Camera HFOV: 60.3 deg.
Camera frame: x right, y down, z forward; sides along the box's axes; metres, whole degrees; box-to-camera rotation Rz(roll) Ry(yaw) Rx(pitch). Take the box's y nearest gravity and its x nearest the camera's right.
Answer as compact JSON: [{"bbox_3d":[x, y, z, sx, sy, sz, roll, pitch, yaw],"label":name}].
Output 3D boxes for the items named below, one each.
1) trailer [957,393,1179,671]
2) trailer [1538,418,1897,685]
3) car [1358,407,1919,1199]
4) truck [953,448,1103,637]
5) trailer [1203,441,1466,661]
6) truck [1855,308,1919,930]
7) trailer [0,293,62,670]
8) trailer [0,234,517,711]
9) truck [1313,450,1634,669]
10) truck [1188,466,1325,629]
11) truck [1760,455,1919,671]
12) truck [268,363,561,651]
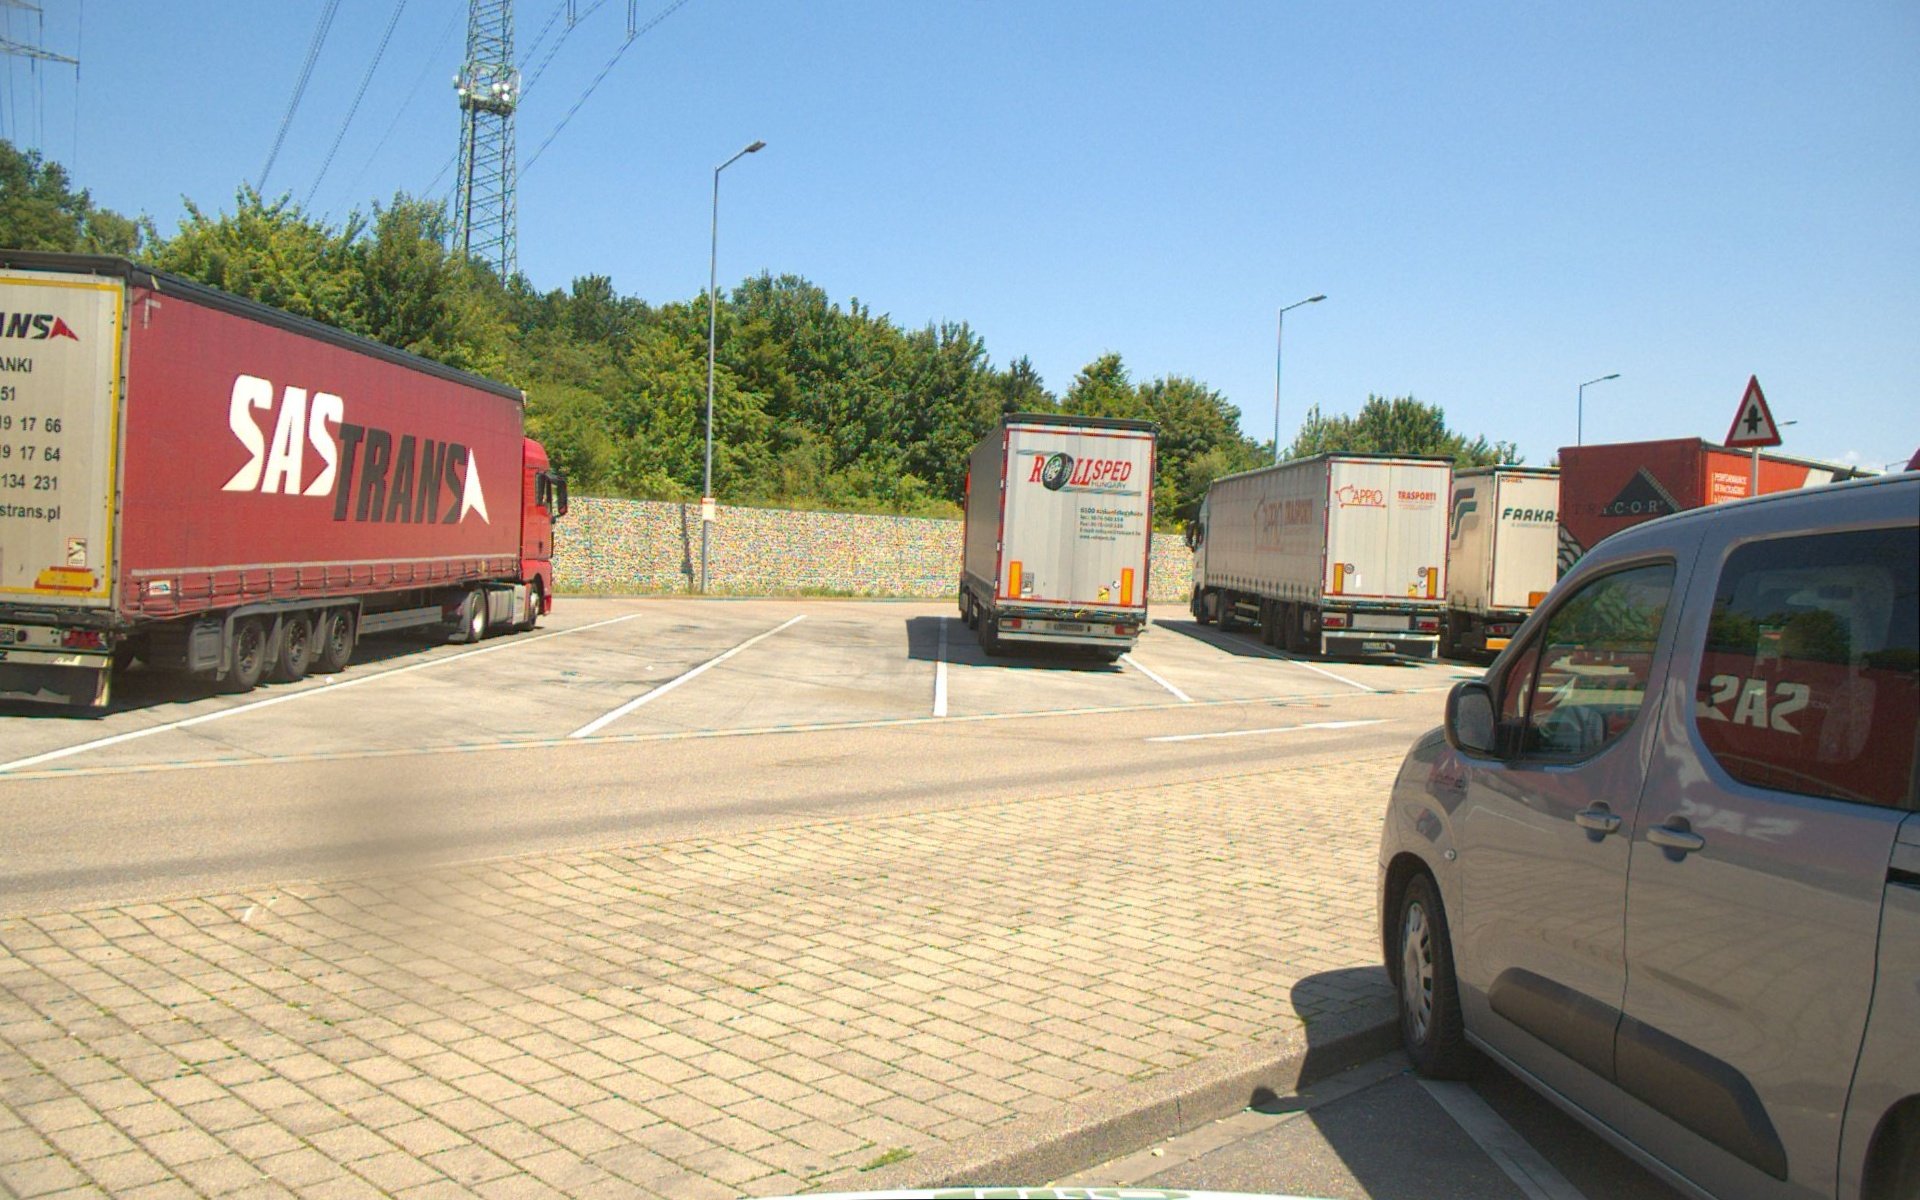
[{"bbox_3d":[1.696,-1.312,32.673,3.008,4.301,12.805,2,2,-2],"label":"trailer"},{"bbox_3d":[14.253,-0.826,30.704,8.609,4.332,2.801,0,1,-42],"label":"trailer"},{"bbox_3d":[2.429,0.560,3.810,1.790,1.784,3.997,1,1,-4],"label":"car"},{"bbox_3d":[1.464,-1.377,39.438,2.965,3.997,6.845,2,2,-2],"label":"truck"},{"bbox_3d":[8.203,-1.083,38.604,2.818,4.196,13.569,1,1,-1],"label":"trailer"},{"bbox_3d":[4.975,0.133,4.931,1.952,2.669,5.305,1,1,3],"label":"truck"},{"bbox_3d":[-12.413,-1.310,15.442,2.689,4.337,9.733,1,1,0],"label":"trailer"},{"bbox_3d":[-8.683,-1.258,21.011,2.694,4.128,13.285,1,1,-1],"label":"trailer"},{"bbox_3d":[11.714,-0.952,39.988,2.846,4.195,14.525,3,1,-1],"label":"truck"},{"bbox_3d":[8.070,-1.408,45.603,2.701,4.196,5.283,1,1,-1],"label":"truck"},{"bbox_3d":[21.961,-0.737,35.795,10.447,4.199,2.670,0,1,-28],"label":"truck"},{"bbox_3d":[-8.778,-1.420,27.533,2.687,4.152,6.828,1,1,-1],"label":"truck"}]
